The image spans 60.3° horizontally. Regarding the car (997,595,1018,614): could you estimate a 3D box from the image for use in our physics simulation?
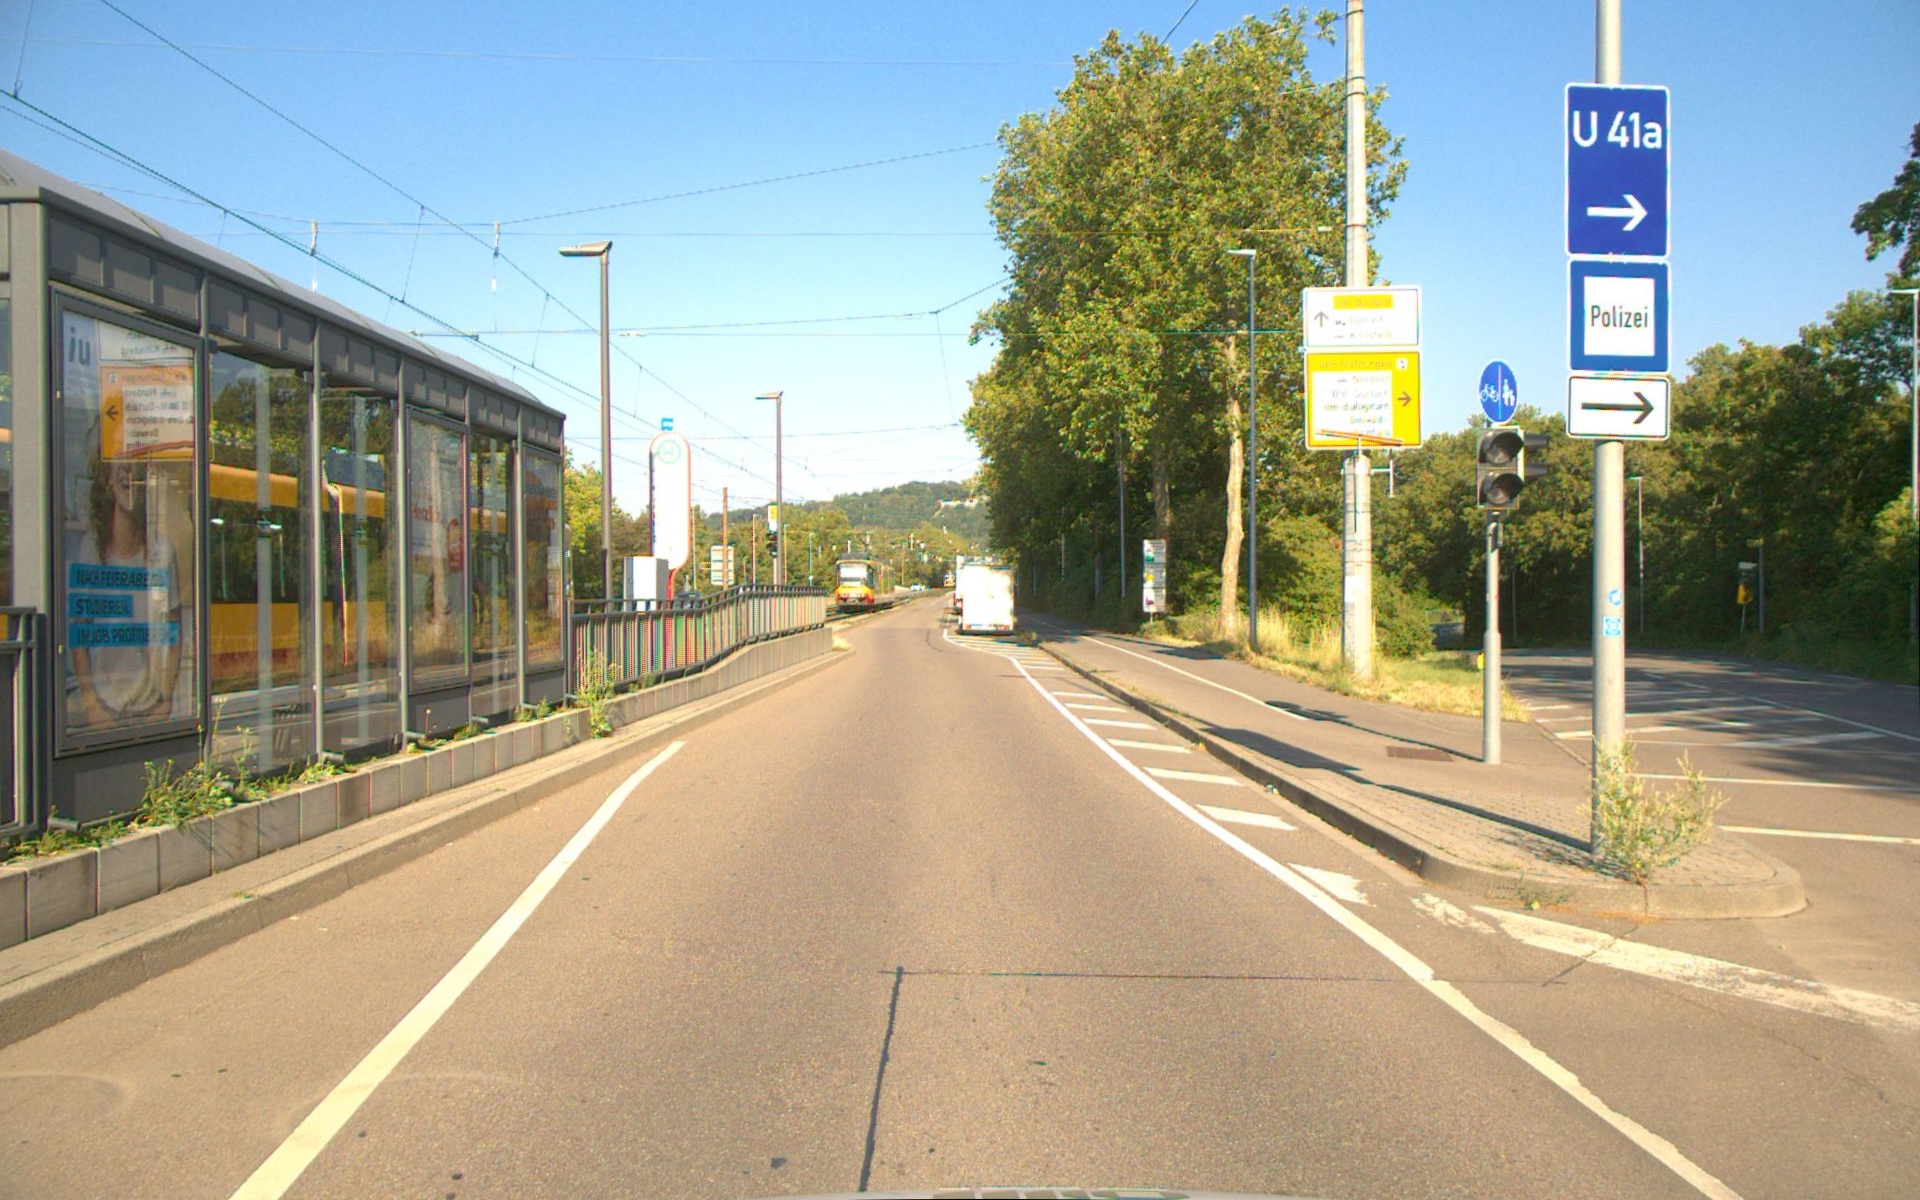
[{"bbox_3d":[3.780,0.352,131.122,1.619,1.462,3.778,0,0,1],"label":"car"}]

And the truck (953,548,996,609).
[{"bbox_3d":[0.934,-1.443,112.655,2.686,3.849,10.088,1,0,0],"label":"truck"}]

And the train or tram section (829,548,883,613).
[{"bbox_3d":[-7.015,-1.303,113.495,2.665,4.162,13.615,-1,0,0],"label":"train or tram section"}]

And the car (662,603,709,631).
[{"bbox_3d":[-15.841,0.964,95.581,1.952,1.589,4.543,0,0,0],"label":"car"}]

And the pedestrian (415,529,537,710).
[{"bbox_3d":[-4.196,0.159,14.349,0.746,1.519,0.693,0,0,33],"label":"pedestrian"}]

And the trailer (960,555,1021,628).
[{"bbox_3d":[1.241,-0.342,64.827,2.204,2.742,5.949,0,0,3],"label":"trailer"}]

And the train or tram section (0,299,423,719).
[{"bbox_3d":[-10.651,-0.914,20.174,2.769,4.076,15.876,1,0,1],"label":"train or tram section"}]

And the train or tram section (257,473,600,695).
[{"bbox_3d":[-10.452,-0.293,34.618,2.769,3.751,12.970,1,0,1],"label":"train or tram section"}]
